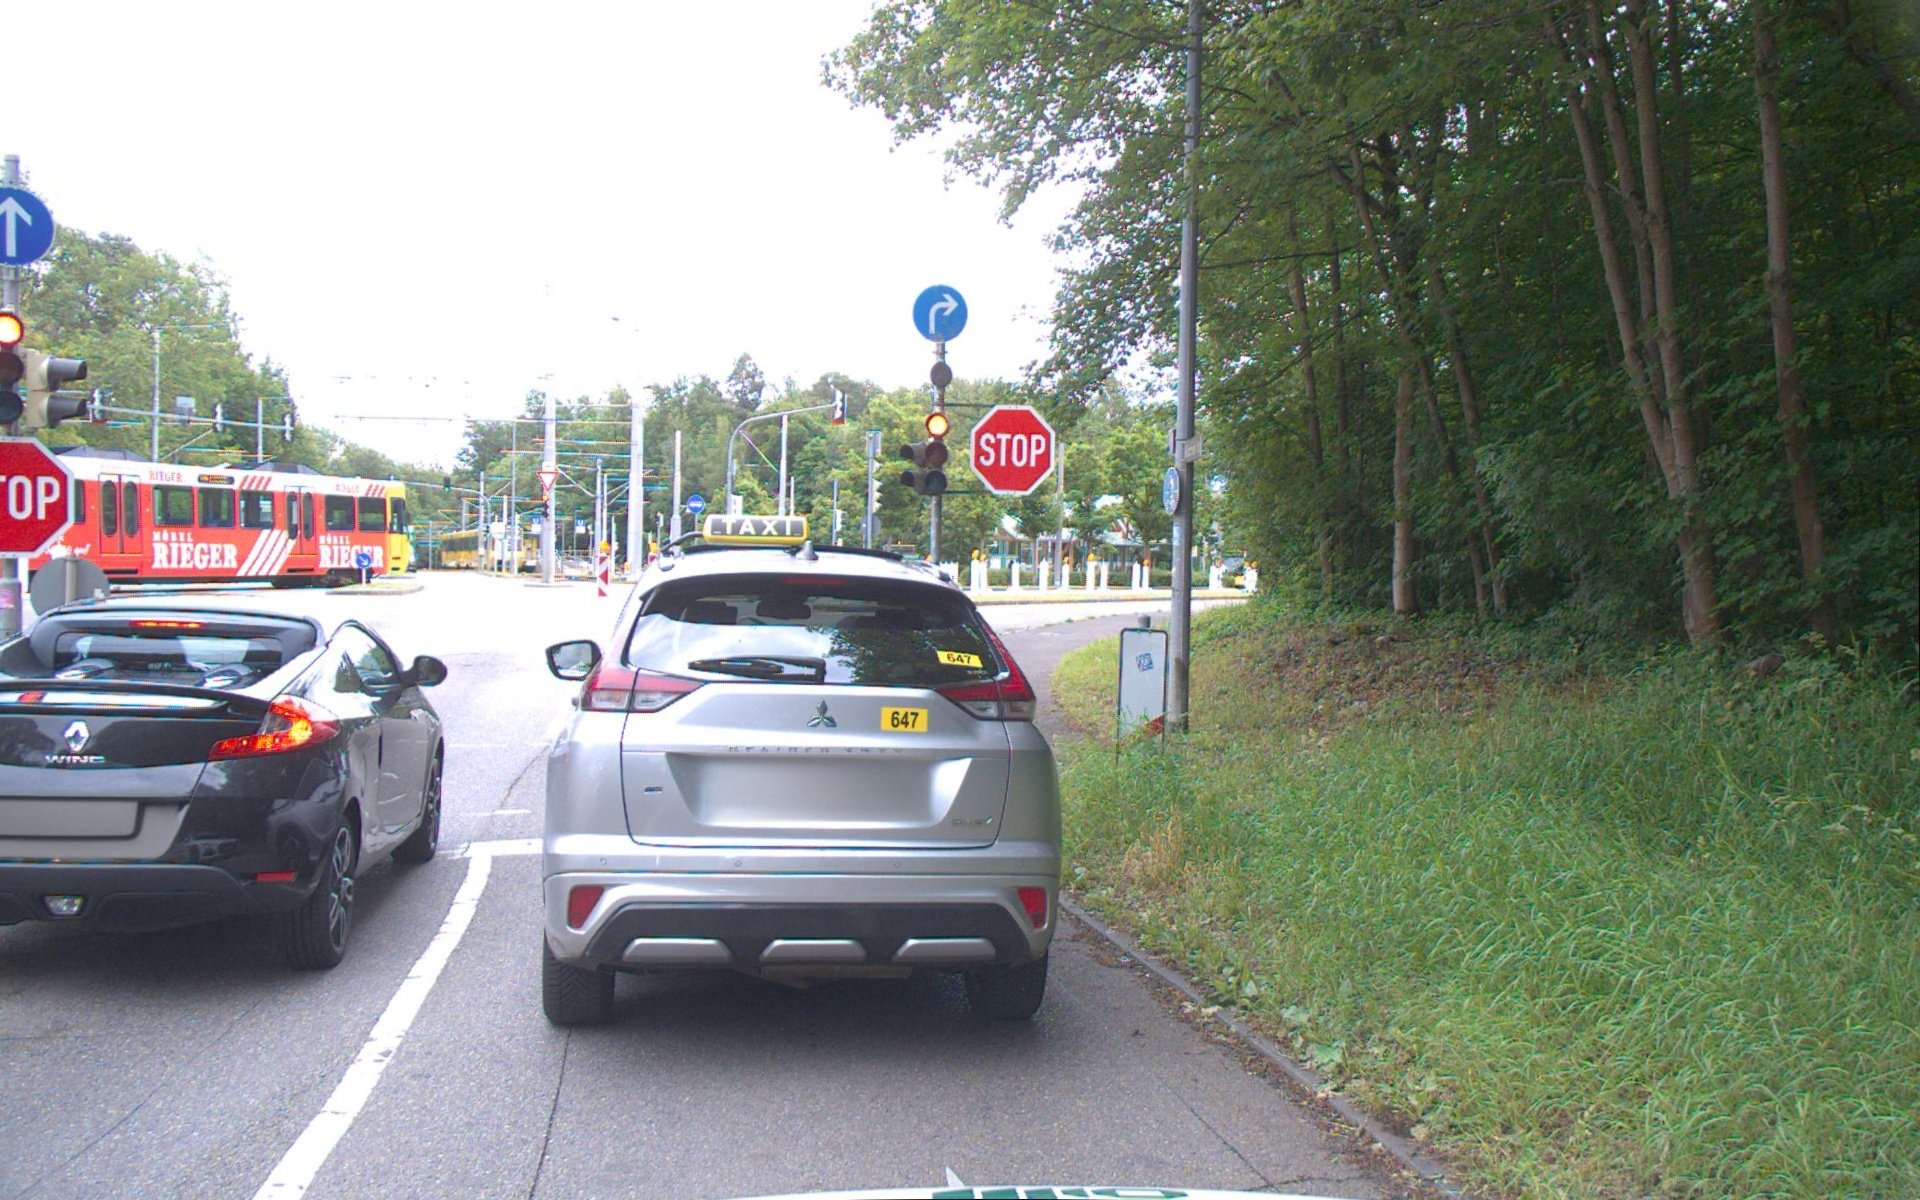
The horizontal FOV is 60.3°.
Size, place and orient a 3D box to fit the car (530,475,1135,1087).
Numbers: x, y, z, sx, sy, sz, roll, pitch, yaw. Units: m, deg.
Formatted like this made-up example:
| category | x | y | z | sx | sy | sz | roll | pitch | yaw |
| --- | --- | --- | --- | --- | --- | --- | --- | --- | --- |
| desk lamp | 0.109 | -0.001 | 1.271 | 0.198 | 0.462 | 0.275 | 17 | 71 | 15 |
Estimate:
| category | x | y | z | sx | sy | sz | roll | pitch | yaw |
| --- | --- | --- | --- | --- | --- | --- | --- | --- | --- |
| car | -0.647 | 0.521 | 6.811 | 1.741 | 1.778 | 3.773 | 2 | 1 | -9 |

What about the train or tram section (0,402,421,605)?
| category | x | y | z | sx | sy | sz | roll | pitch | yaw |
| --- | --- | --- | --- | --- | --- | --- | --- | --- | --- |
| train or tram section | -22.093 | -2.295 | 47.340 | 2.884 | 4.732 | 18.558 | 1 | 0 | 15 |

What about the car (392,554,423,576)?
| category | x | y | z | sx | sy | sz | roll | pitch | yaw |
| --- | --- | --- | --- | --- | --- | --- | --- | --- | --- |
| car | -39.952 | -2.551 | 119.613 | 1.930 | 1.567 | 4.292 | 1 | 1 | -16 |

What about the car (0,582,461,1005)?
| category | x | y | z | sx | sy | sz | roll | pitch | yaw |
| --- | --- | --- | --- | --- | --- | --- | --- | --- | --- |
| car | -3.299 | 0.631 | 7.305 | 1.742 | 1.385 | 3.467 | 0 | 1 | -11 |
